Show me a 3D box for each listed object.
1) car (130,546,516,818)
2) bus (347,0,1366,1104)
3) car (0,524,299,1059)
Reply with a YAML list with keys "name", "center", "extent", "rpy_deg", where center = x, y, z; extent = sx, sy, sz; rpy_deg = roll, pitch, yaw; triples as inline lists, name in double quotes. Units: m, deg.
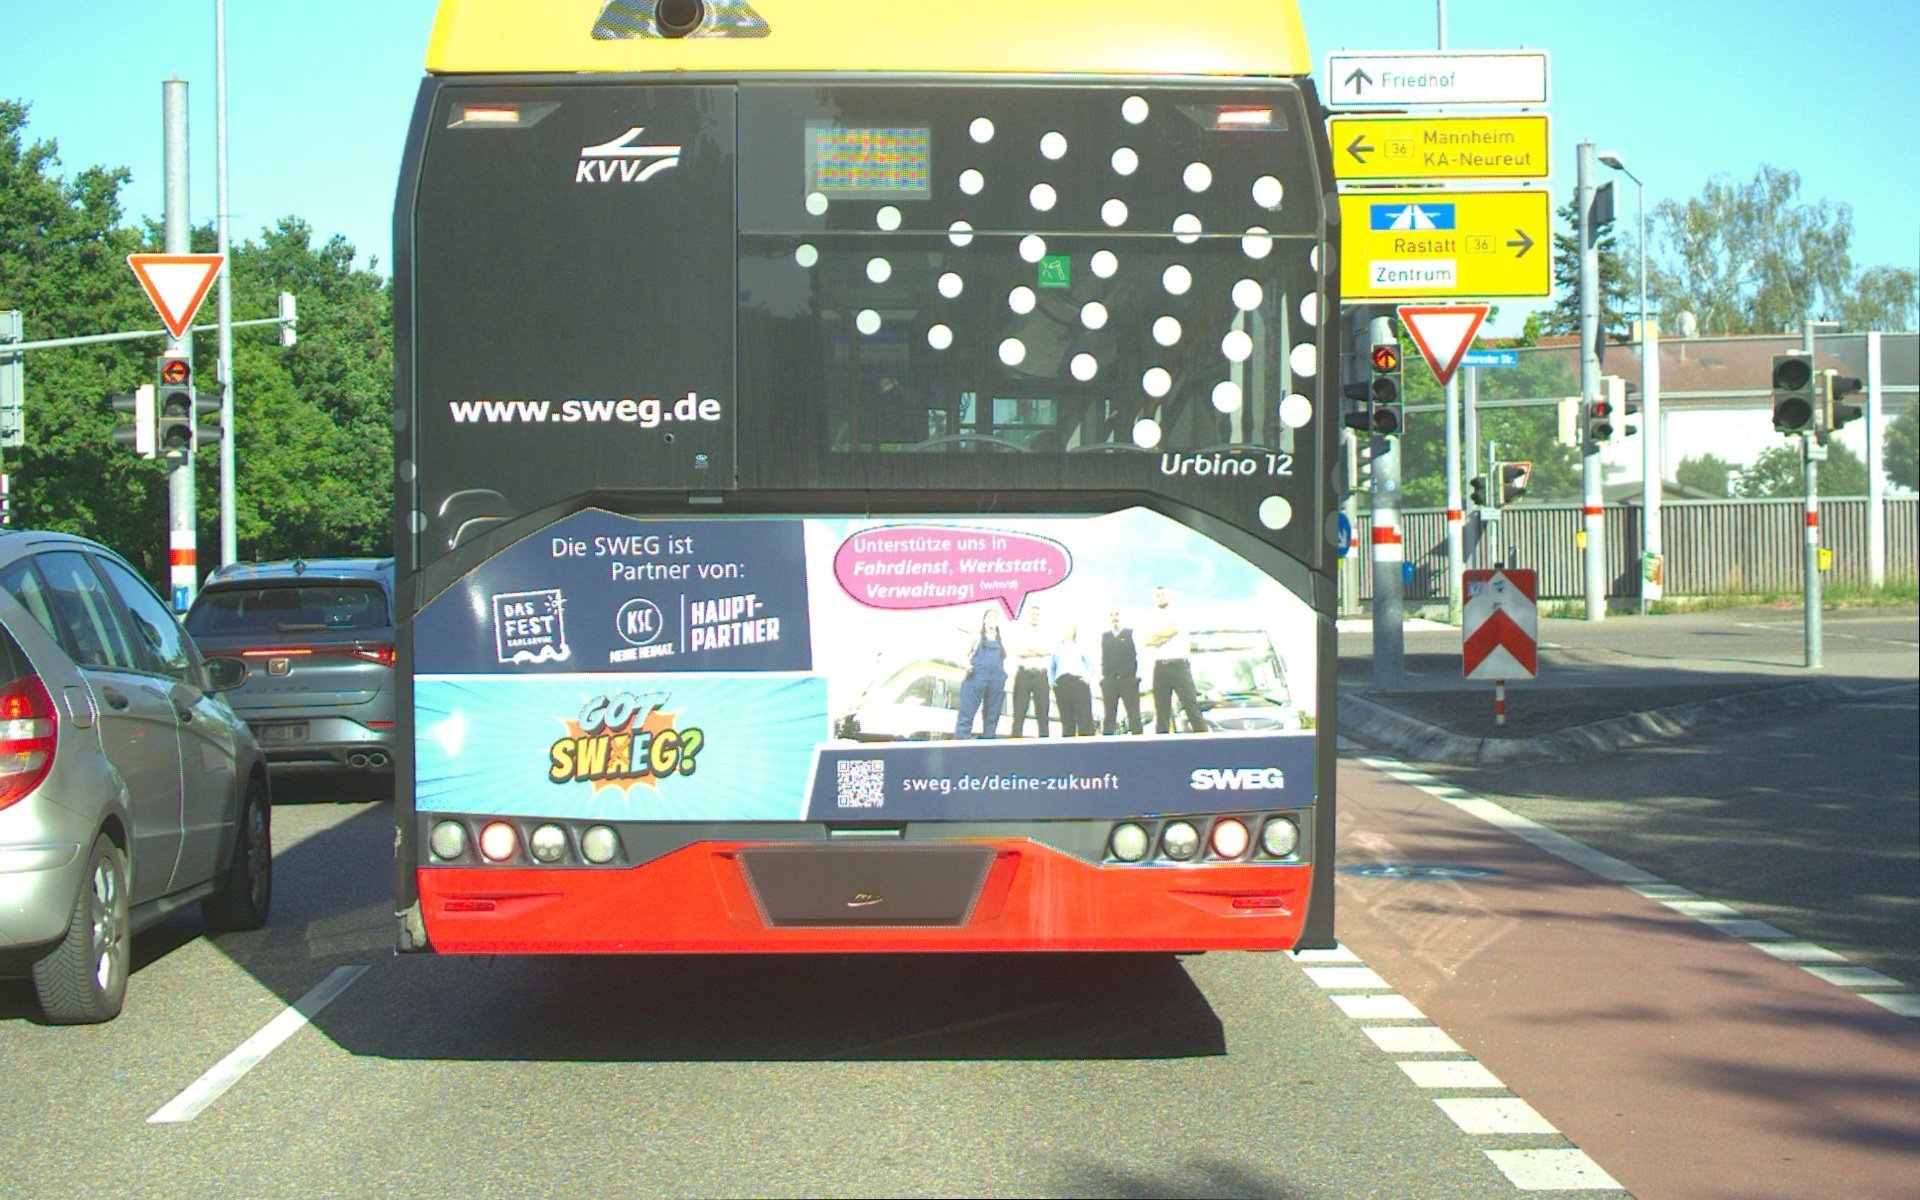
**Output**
- name: "car"
  center: [-3.809, 0.429, 21.129]
  extent: [1.692, 1.453, 3.751]
  rpy_deg: [-2, 1, -1]
- name: "bus"
  center: [-0.290, -0.403, 14.895]
  extent: [2.642, 3.156, 11.861]
  rpy_deg: [0, 1, 0]
- name: "car"
  center: [-3.602, 0.560, 12.197]
  extent: [1.761, 1.584, 4.000]
  rpy_deg: [-2, 1, -1]
